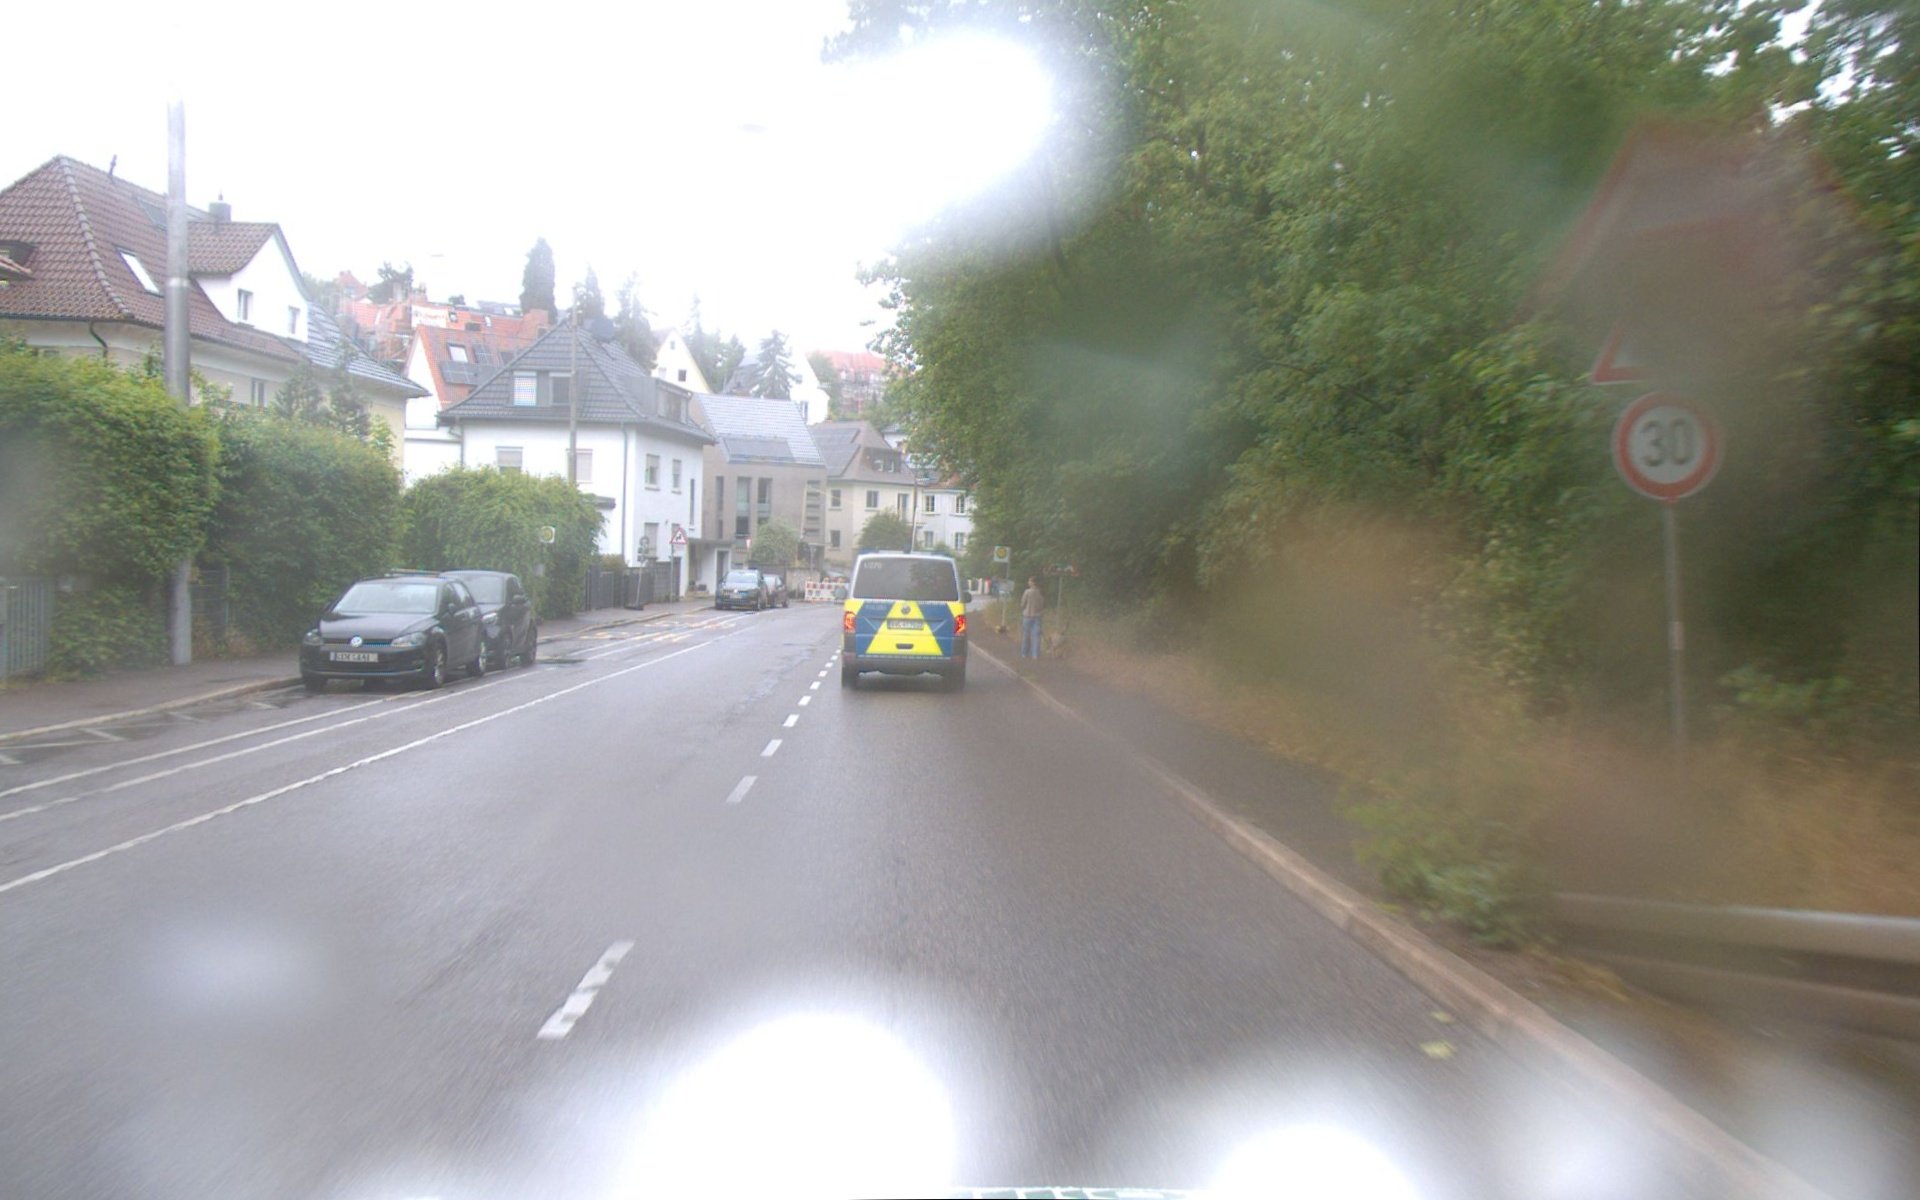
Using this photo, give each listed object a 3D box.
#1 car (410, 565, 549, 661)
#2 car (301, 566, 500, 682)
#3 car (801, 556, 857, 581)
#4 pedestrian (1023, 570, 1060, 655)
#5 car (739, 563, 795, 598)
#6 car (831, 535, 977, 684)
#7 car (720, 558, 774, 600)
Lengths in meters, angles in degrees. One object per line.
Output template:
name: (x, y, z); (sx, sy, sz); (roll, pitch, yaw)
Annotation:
car: (-7.859, 0.173, 27.280); (1.488, 1.479, 3.029); (0, 2, -2)
car: (-7.684, 0.259, 23.103); (1.655, 1.443, 4.212); (0, 2, -5)
car: (-8.771, -2.102, 110.492); (1.822, 1.468, 3.944); (1, 2, -40)
pedestrian: (1.598, 0.238, 32.568); (0.629, 1.639, 0.669); (2, 0, -4)
car: (-8.664, -0.911, 74.587); (1.582, 1.465, 4.233); (2, 2, 5)
car: (-0.759, 0.139, 25.352); (1.952, 2.049, 4.402); (1, 0, 1)
car: (-8.914, -0.908, 69.378); (1.718, 1.687, 4.405); (0, 2, 0)
